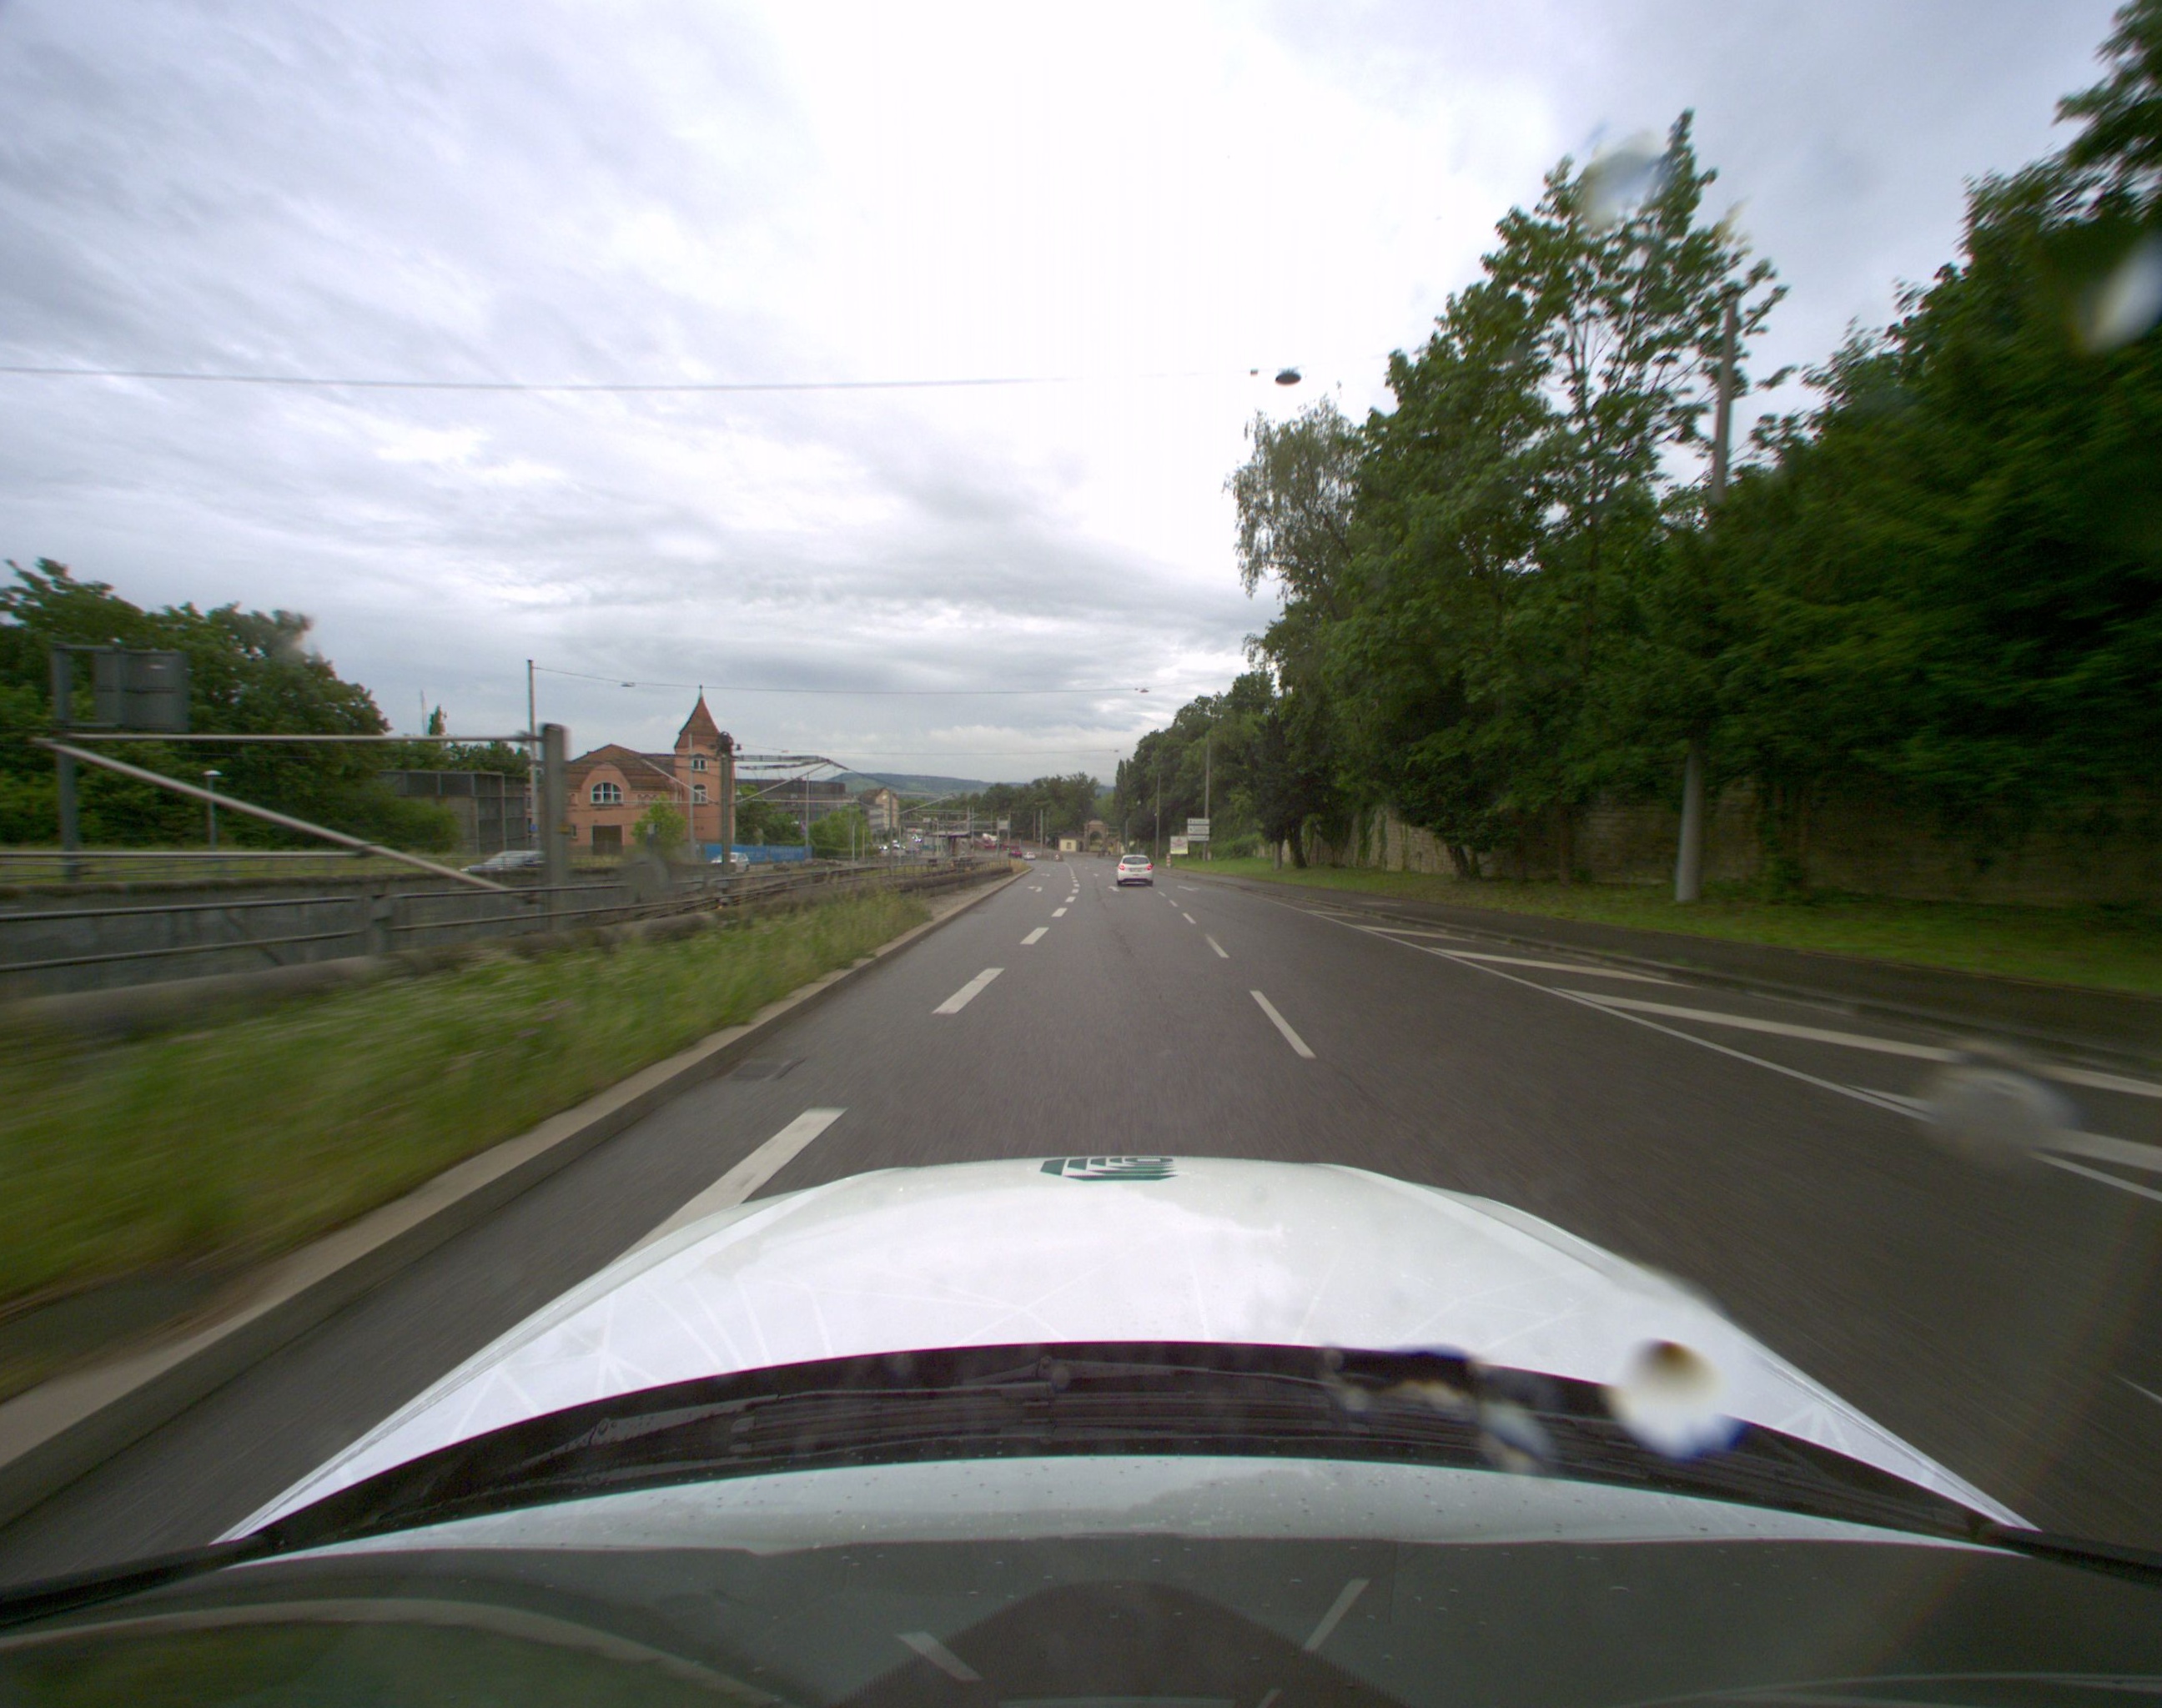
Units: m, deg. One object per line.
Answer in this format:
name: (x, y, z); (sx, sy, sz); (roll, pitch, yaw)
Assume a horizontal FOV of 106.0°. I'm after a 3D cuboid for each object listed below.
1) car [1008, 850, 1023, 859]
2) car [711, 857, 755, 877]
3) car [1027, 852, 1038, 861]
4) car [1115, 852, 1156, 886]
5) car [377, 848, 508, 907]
car: (-13.756, 0.110, 170.942); (2.004, 1.706, 3.966); (0, 1, -26)
car: (-24.268, 0.874, 56.865); (1.550, 1.292, 3.558); (1, 1, 0)
car: (-9.558, 0.542, 159.979); (1.816, 1.606, 4.000); (-2, 1, 0)
car: (2.615, 0.691, 39.586); (1.860, 1.511, 3.903); (-1, 0, 3)
car: (-24.101, 0.828, 30.965); (1.887, 1.970, 4.030); (3, 0, -4)
